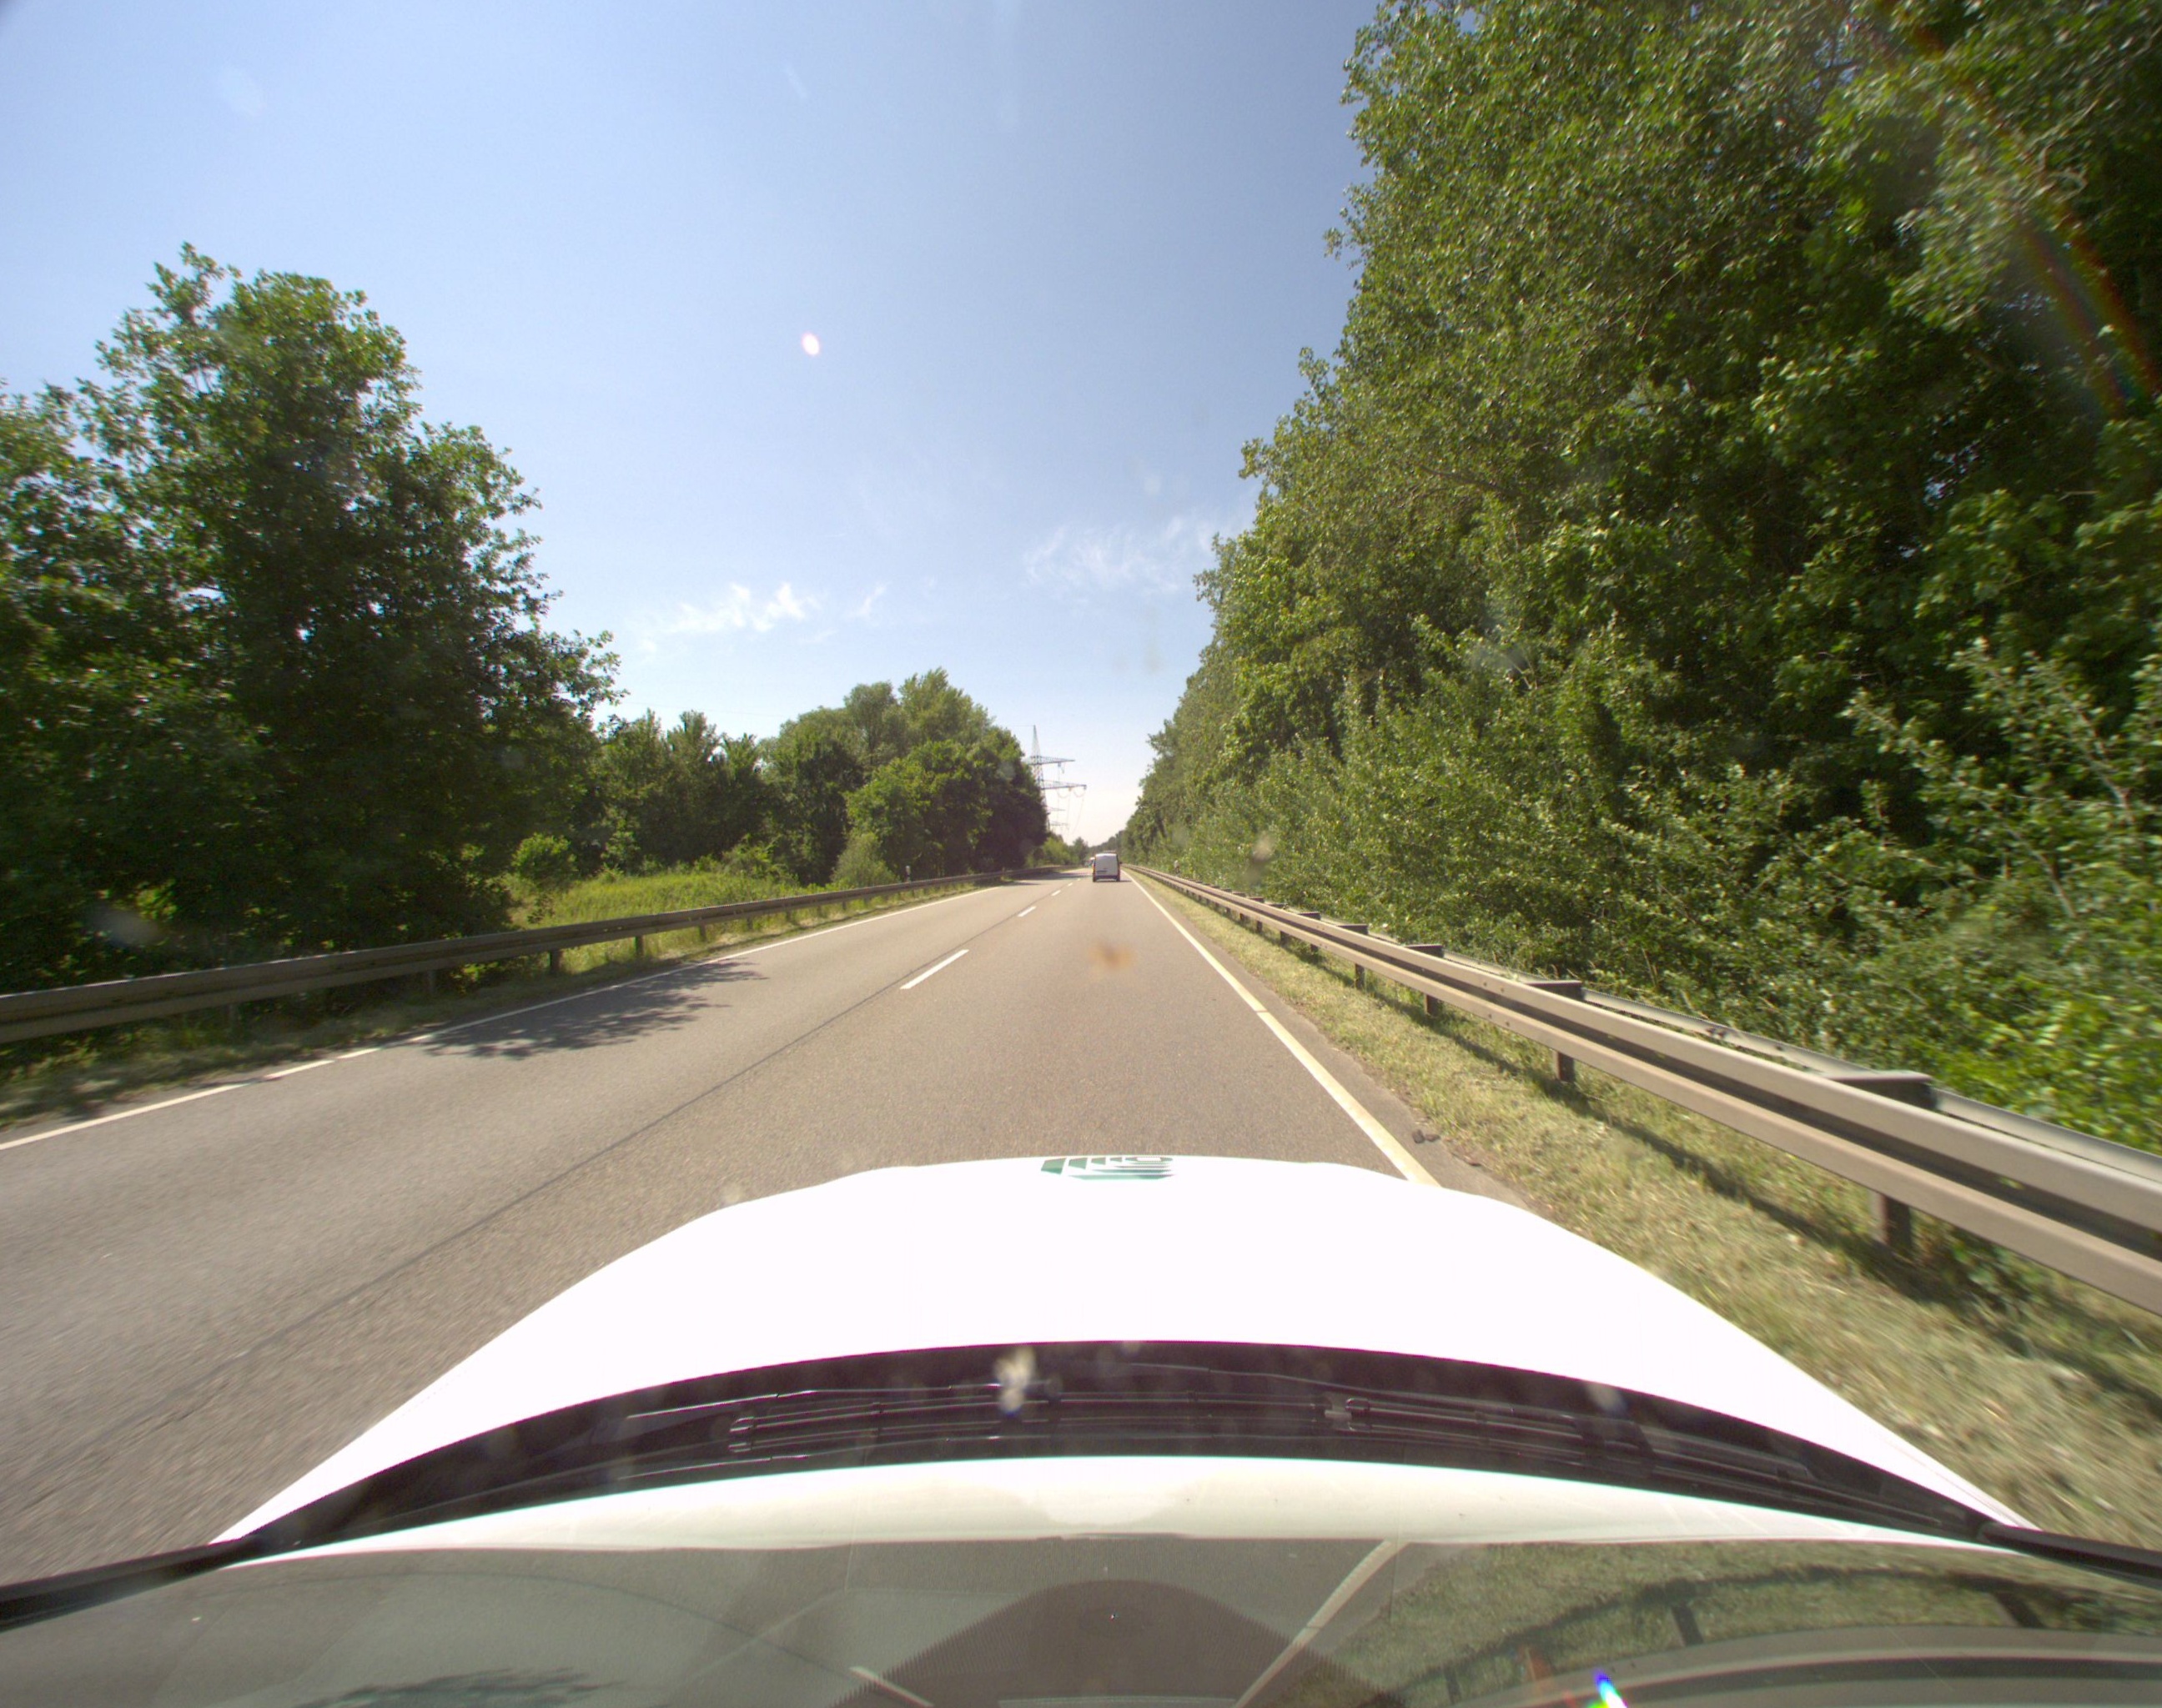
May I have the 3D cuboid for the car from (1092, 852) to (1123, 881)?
[{"bbox_3d":[1.683,0.754,52.100,1.868,1.741,4.002,-1,0,2],"label":"car"}]

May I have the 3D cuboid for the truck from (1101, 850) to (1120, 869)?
[{"bbox_3d":[5.362,0.963,149.416,3.284,3.172,14.410,-1,0,2],"label":"truck"}]
